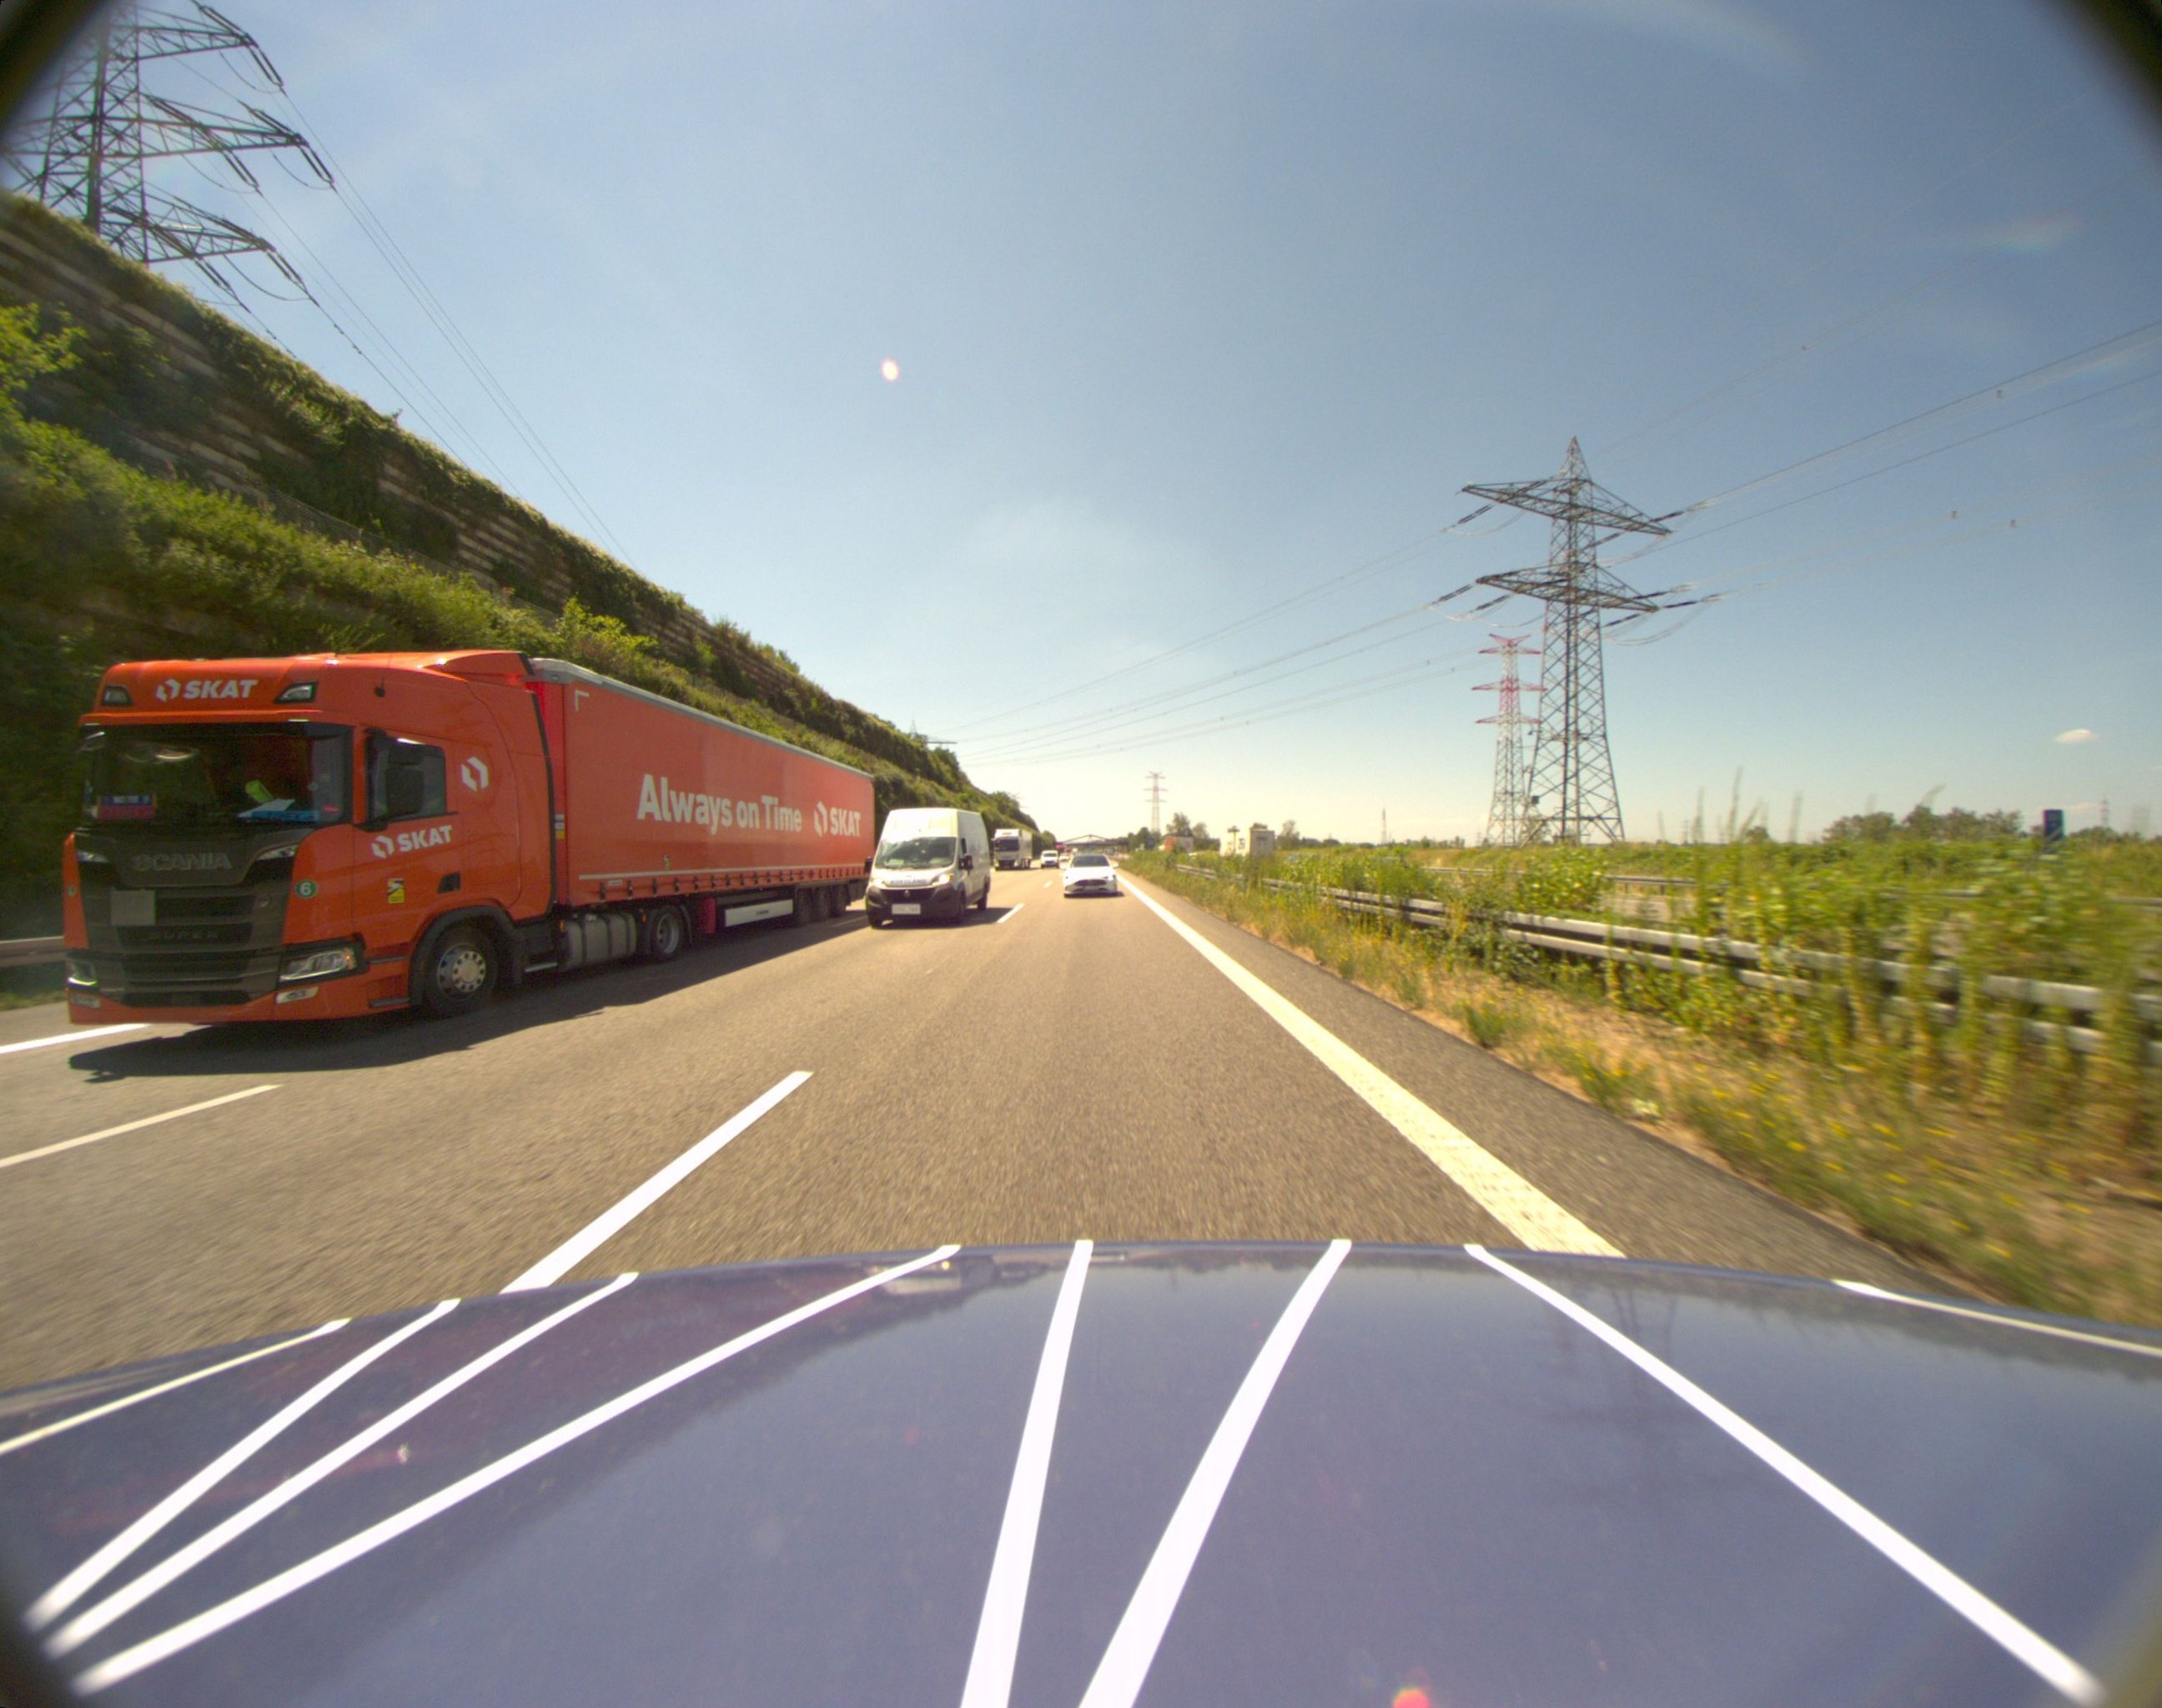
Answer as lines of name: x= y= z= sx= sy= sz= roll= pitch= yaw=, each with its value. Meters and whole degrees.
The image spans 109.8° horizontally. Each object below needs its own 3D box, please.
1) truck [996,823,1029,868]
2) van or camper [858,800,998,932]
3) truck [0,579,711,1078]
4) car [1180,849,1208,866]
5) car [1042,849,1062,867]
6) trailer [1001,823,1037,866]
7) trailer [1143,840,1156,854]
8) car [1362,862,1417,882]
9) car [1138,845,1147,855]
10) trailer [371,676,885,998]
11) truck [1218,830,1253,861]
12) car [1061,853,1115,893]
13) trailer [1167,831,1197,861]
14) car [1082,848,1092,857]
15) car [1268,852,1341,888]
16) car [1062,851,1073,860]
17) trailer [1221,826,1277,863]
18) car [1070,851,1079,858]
truck: x=-6.630 y=-0.837 z=74.348 sx=2.514 sy=4.196 sz=6.255 roll=-1 pitch=1 yaw=0
van or camper: x=-3.594 y=0.235 z=19.408 sx=2.102 sy=2.753 sz=6.756 roll=-1 pitch=0 yaw=0
truck: x=-7.567 y=-0.214 z=9.385 sx=2.624 sy=3.969 sz=6.526 roll=-1 pitch=1 yaw=1
car: x=10.489 y=0.297 z=70.855 sx=1.753 sy=1.482 sz=4.965 roll=0 pitch=1 yaw=-1
car: x=-2.895 y=0.367 z=76.483 sx=1.784 sy=1.783 sz=4.000 roll=-2 pitch=0 yaw=0
trailer: x=-6.579 y=-0.945 z=83.144 sx=2.521 sy=4.187 sz=17.025 roll=-1 pitch=0 yaw=0
trailer: x=20.315 y=-2.132 z=226.015 sx=2.676 sy=4.061 sz=13.914 roll=0 pitch=0 yaw=0
car: x=17.909 y=1.019 z=44.262 sx=1.506 sy=1.085 sz=3.990 roll=0 pitch=1 yaw=-1
car: x=15.084 y=-0.988 z=186.525 sx=1.998 sy=2.423 sz=6.030 roll=0 pitch=1 yaw=2
trailer: x=-7.456 y=-0.248 z=16.375 sx=2.651 sy=3.982 sz=13.605 roll=-2 pitch=0 yaw=1
truck: x=18.829 y=-1.004 z=92.757 sx=2.842 sy=3.729 sz=6.848 roll=0 pitch=0 yaw=0
car: x=0.252 y=0.709 z=30.716 sx=1.998 sy=1.474 sz=4.108 roll=-1 pitch=0 yaw=0
trailer: x=15.143 y=-1.196 z=115.302 sx=2.597 sy=4.213 sz=14.327 roll=0 pitch=0 yaw=0
car: x=1.060 y=-0.297 z=137.547 sx=1.784 sy=1.475 sz=3.999 roll=0 pitch=0 yaw=-1
car: x=9.785 y=0.650 z=33.607 sx=1.797 sy=1.487 sz=4.295 roll=0 pitch=1 yaw=-2
car: x=-2.228 y=0.230 z=126.747 sx=1.784 sy=1.475 sz=3.999 roll=-2 pitch=0 yaw=-1
trailer: x=18.758 y=-1.041 z=86.015 sx=2.861 sy=3.800 sz=15.977 roll=0 pitch=0 yaw=0
car: x=-1.436 y=0.062 z=162.857 sx=1.784 sy=1.475 sz=3.999 roll=-2 pitch=0 yaw=-1
